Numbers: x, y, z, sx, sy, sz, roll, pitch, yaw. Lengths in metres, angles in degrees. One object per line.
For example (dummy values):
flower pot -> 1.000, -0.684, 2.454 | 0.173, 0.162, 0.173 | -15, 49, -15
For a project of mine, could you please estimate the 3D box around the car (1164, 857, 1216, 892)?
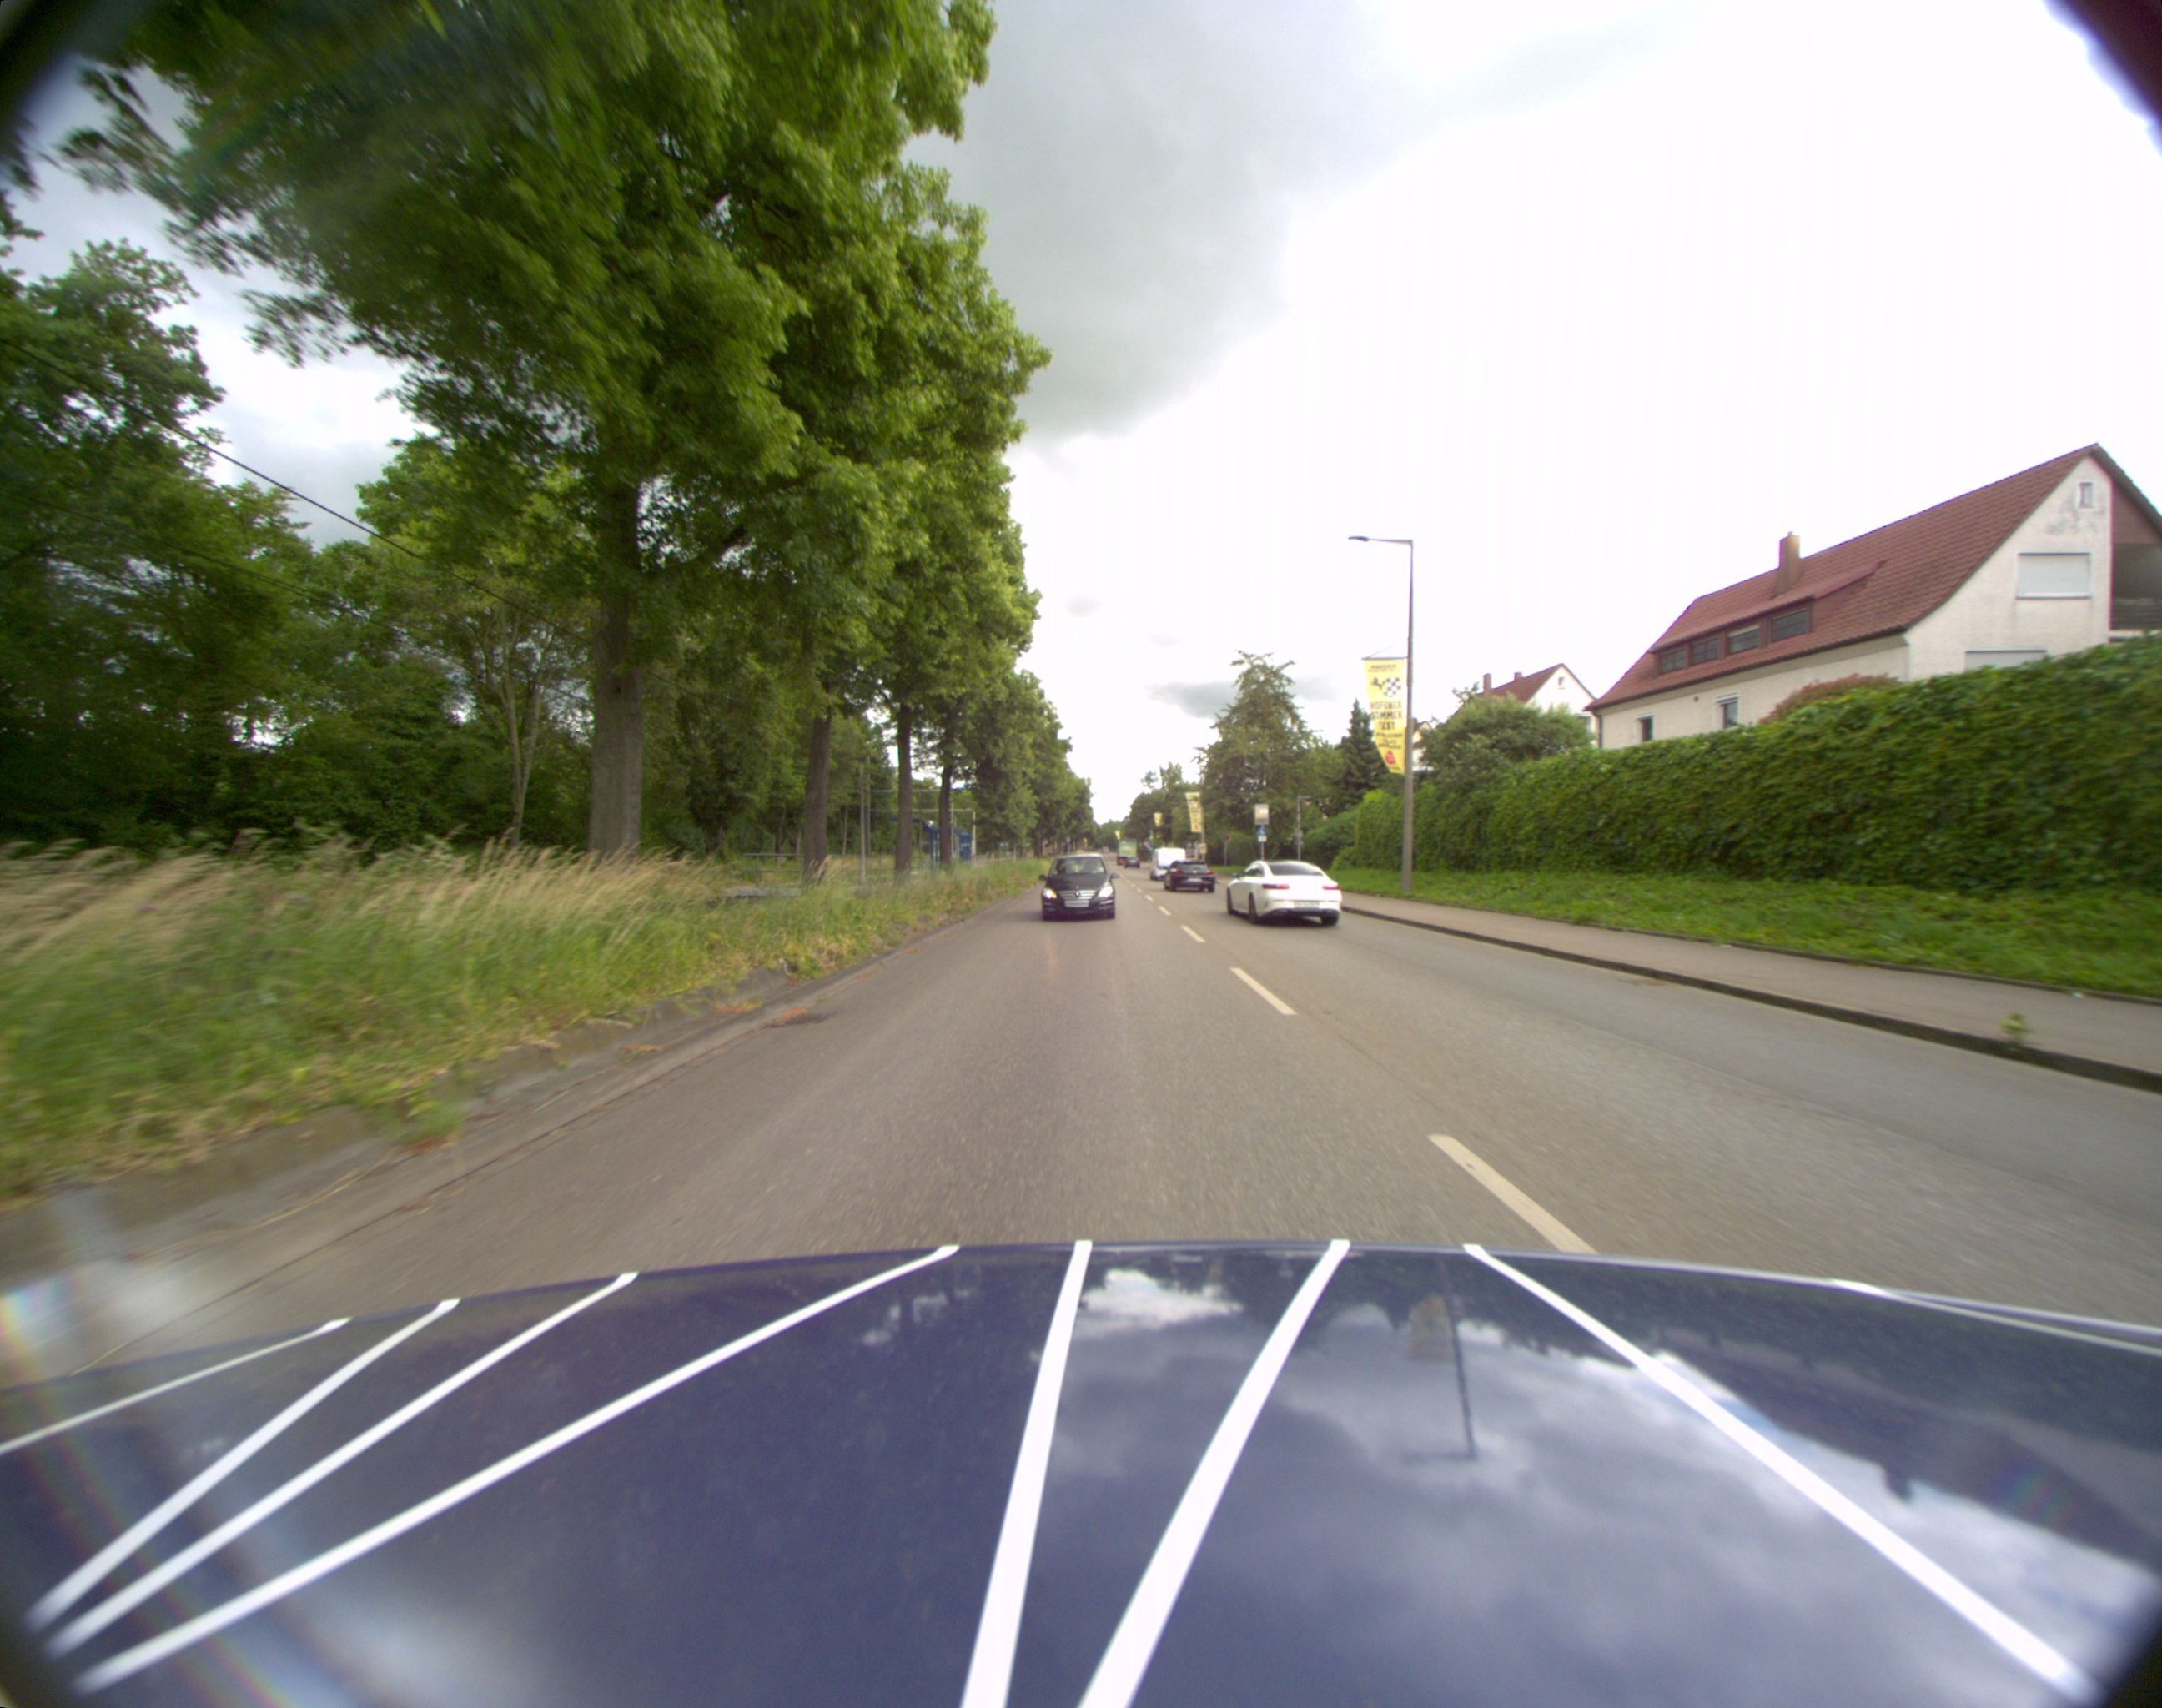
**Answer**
car -> 4.576, 0.842, 32.456 | 1.654, 1.340, 4.478 | 0, 0, 1

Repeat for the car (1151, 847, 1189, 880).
car -> 5.477, 0.534, 47.323 | 1.911, 1.921, 4.911 | 0, 0, 1

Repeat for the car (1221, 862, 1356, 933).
car -> 4.637, 0.910, 17.719 | 1.891, 1.375, 4.490 | 1, 0, 0

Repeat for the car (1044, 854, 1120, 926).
car -> 0.051, 0.823, 19.721 | 1.683, 1.565, 4.482 | -2, 0, 1

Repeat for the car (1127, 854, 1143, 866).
car -> 6.562, 0.695, 92.750 | 1.737, 1.367, 4.240 | 0, 0, 1

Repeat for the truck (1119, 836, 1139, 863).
truck -> 7.445, -0.710, 118.947 | 2.556, 4.020, 10.618 | 1, 1, 1

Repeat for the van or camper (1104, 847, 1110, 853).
van or camper -> 8.646, -1.456, 254.497 | 1.917, 1.888, 4.811 | -1, 0, 1
